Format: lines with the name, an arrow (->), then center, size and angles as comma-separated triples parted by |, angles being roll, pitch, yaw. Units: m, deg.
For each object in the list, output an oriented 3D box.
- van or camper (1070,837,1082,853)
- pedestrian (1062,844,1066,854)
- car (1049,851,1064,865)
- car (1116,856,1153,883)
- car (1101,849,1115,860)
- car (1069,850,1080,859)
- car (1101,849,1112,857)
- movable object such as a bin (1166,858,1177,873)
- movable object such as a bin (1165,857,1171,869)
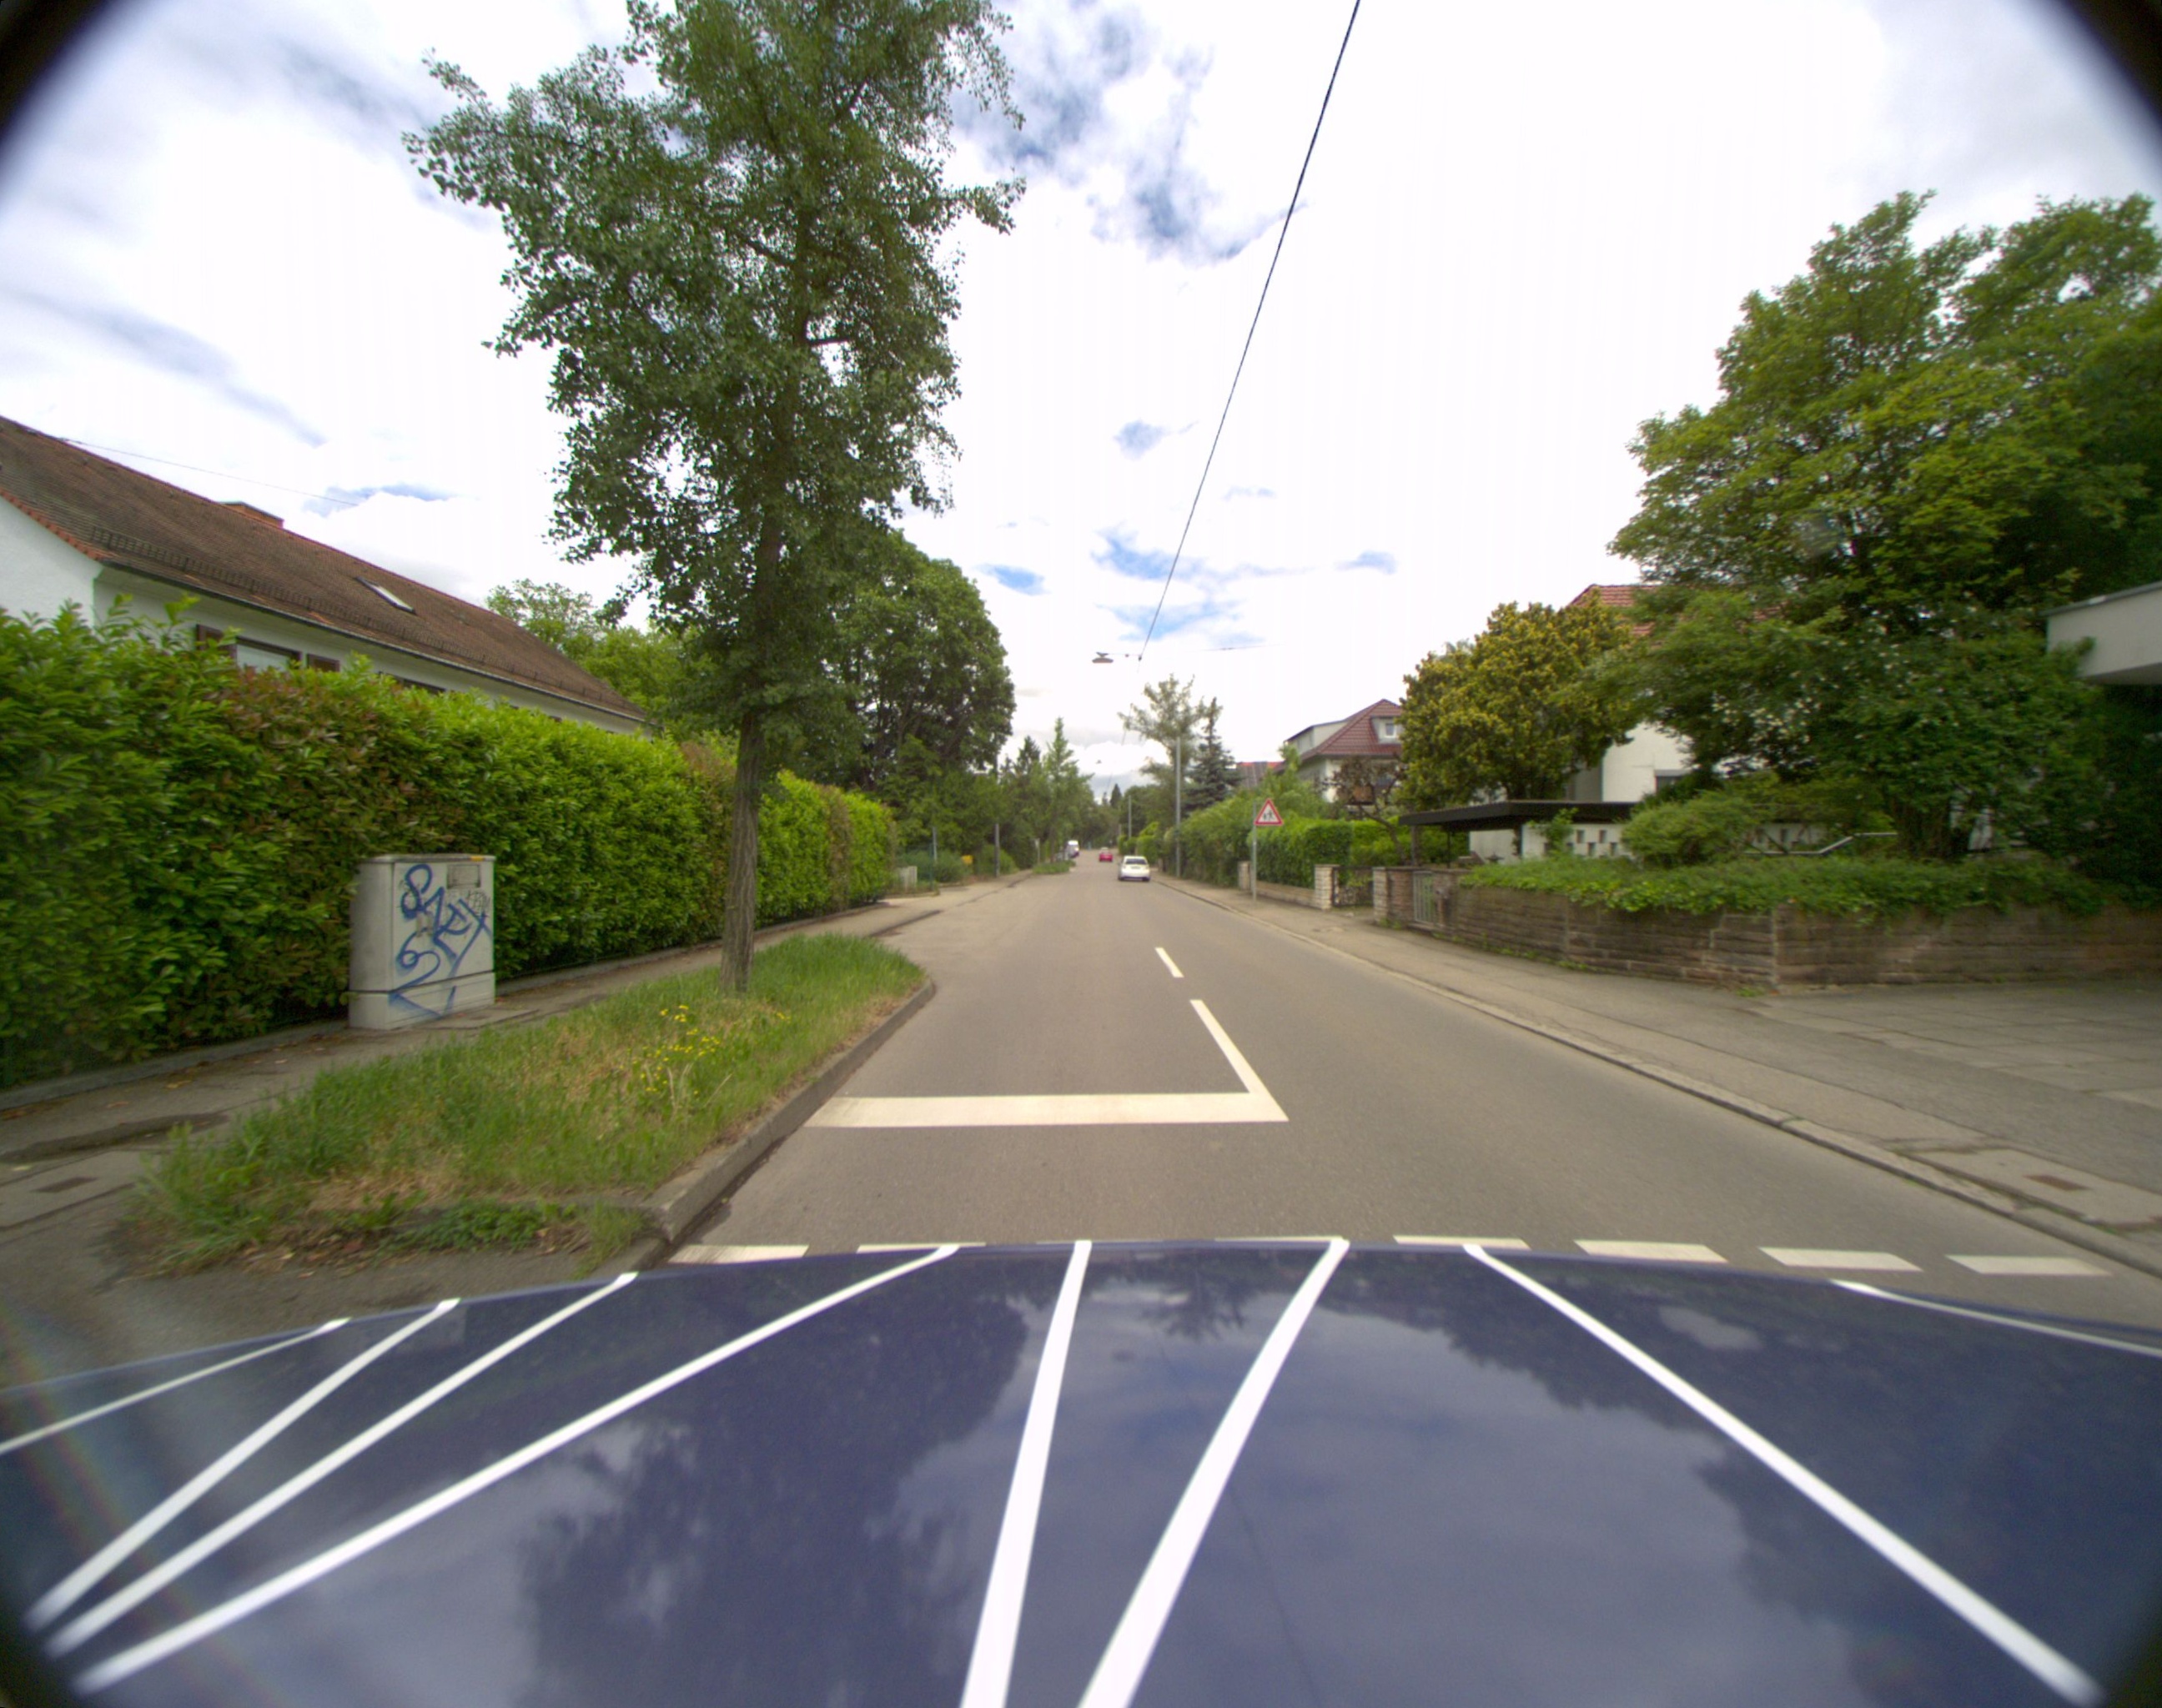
van or camper -> -0.878, -1.594, 133.750 | 2.046, 2.605, 7.035 | -2, 2, -1
pedestrian -> -2.968, -0.912, 132.603 | 0.671, 1.689, 0.917 | 1, 2, 1
car -> -2.910, 0.477, 90.936 | 1.627, 1.464, 3.739 | -1, 1, 1
car -> 3.158, 0.907, 45.927 | 1.859, 1.443, 4.281 | 1, 0, -1
car -> 3.646, 0.007, 103.140 | 1.810, 1.423, 4.117 | 2, 1, 0
car -> -1.023, 0.107, 119.651 | 1.683, 1.399, 4.054 | -1, 0, 1
car -> 4.578, -0.254, 136.179 | 1.810, 1.423, 4.300 | 0, 1, 0
movable object such as a bin -> 7.355, 0.919, 61.731 | 0.729, 1.119, 0.722 | -4, 1, -2
movable object such as a bin -> 7.115, 0.700, 62.361 | 0.379, 0.946, 0.512 | -4, 1, -2
